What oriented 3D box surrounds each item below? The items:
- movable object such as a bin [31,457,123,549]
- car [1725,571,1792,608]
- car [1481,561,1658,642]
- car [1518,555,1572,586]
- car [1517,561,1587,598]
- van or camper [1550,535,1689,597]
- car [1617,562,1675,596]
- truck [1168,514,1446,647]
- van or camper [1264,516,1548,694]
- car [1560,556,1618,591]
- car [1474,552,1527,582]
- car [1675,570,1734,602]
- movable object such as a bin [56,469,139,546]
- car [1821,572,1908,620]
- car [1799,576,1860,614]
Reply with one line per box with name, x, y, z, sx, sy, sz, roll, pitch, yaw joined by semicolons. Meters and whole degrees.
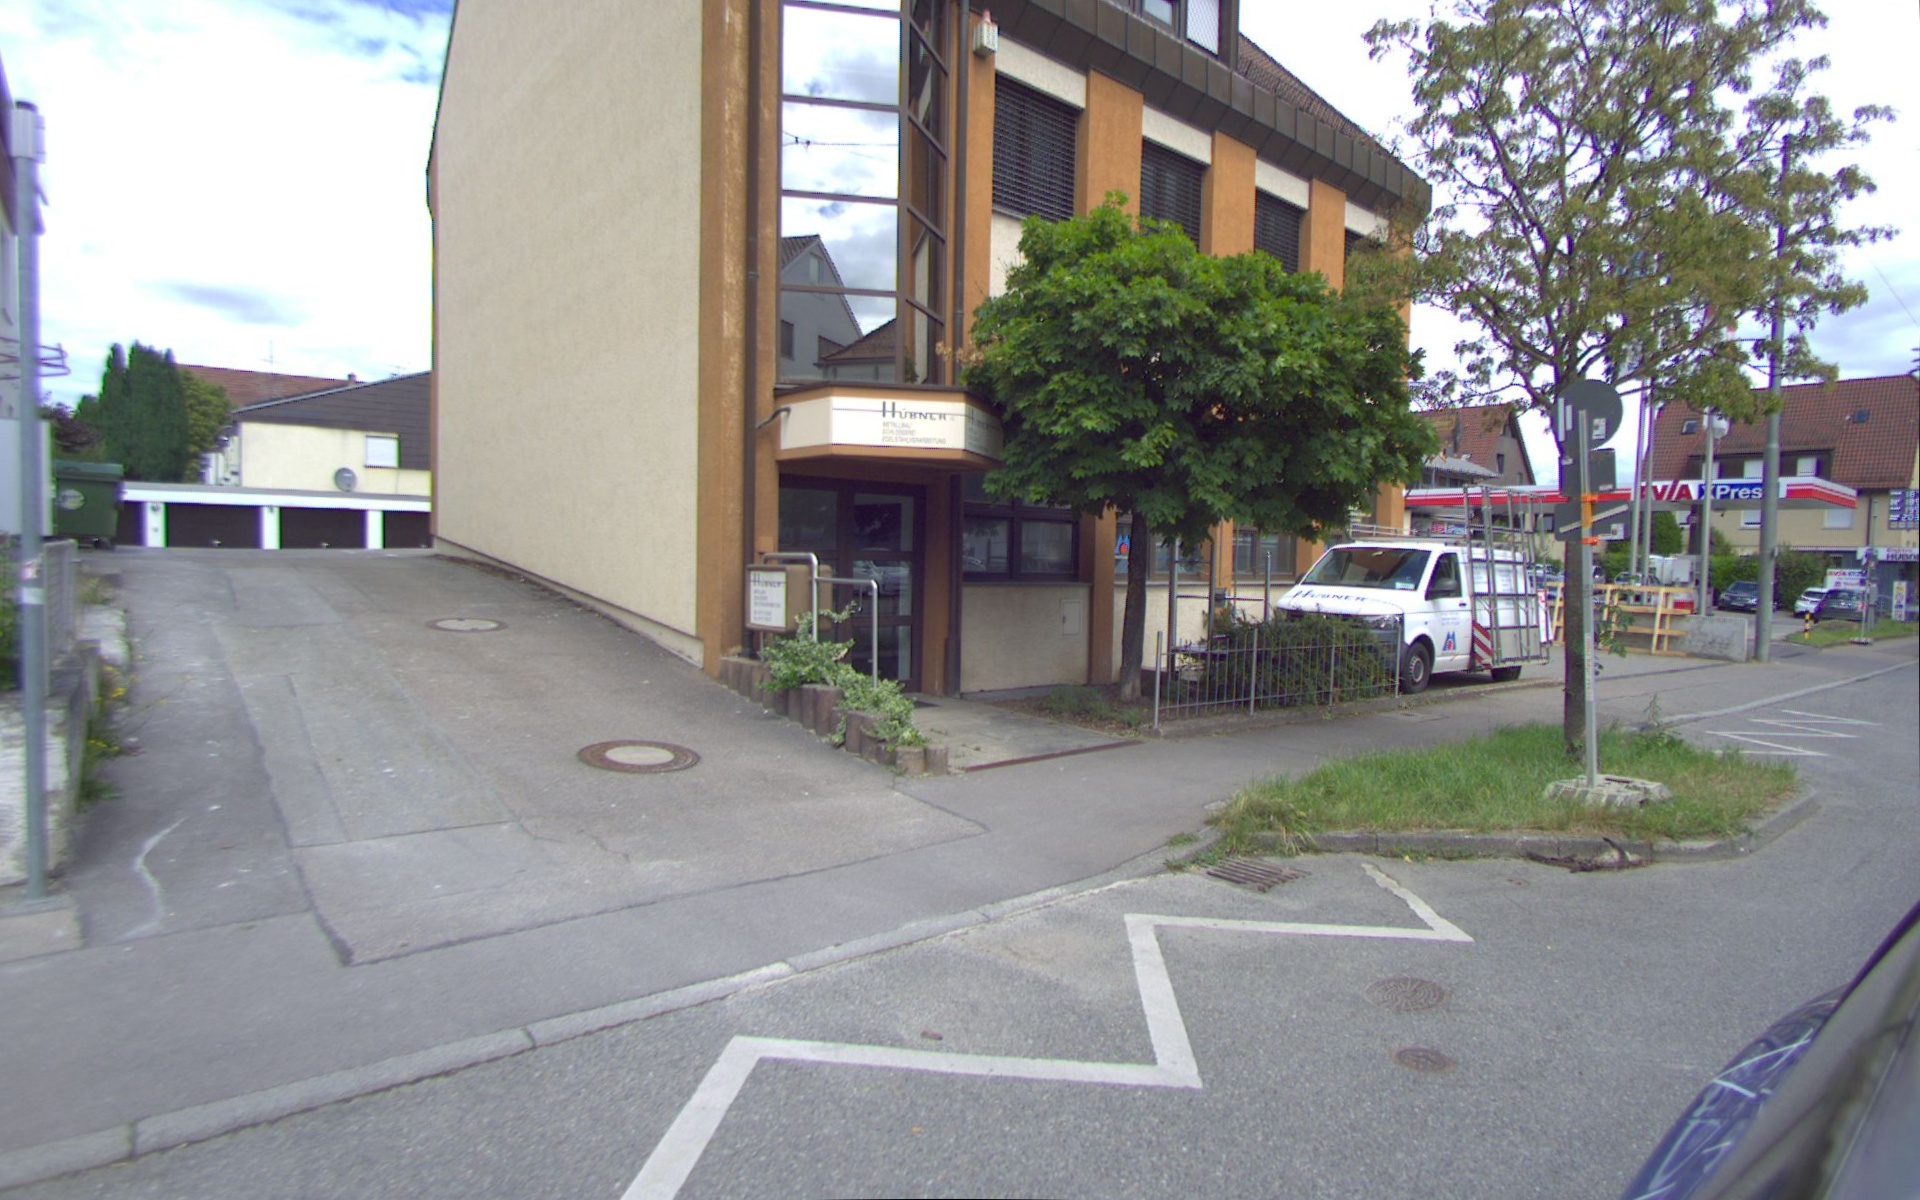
movable object such as a bin;-14.450;-1.549;16.599;1.096;1.403;1.264;-1;2;-40
car;38.859;-0.553;49.203;4.577;1.559;1.716;-2;7;-42
car;15.805;-0.041;26.543;1.603;1.649;4.327;4;4;-5
car;32.768;-1.656;56.647;3.440;1.587;1.570;-2;7;-43
car;28.751;-1.028;49.088;3.681;1.517;1.636;-4;9;-39
van or camper;37.328;-1.960;57.462;2.489;2.883;5.972;0;7;-43
car;36.046;-1.120;53.155;3.684;1.603;1.640;-2;7;-43
truck;7.240;-0.436;21.593;2.315;2.488;5.099;2;1;-40
van or camper;6.231;-0.007;13.901;4.469;2.057;1.870;-1;2;-41
car;34.228;-1.475;55.019;3.981;1.702;1.570;-2;7;-43
car;31.419;-1.940;58.836;3.440;1.587;1.570;-2;7;-43
car;37.678;-0.745;51.204;3.684;1.388;1.639;-2;7;-43
movable object such as a bin;-15.564;-1.640;18.288;1.096;1.302;1.264;-1;2;-40
car;35.678;-0.177;39.895;4.082;1.613;1.622;0;8;-37
car;41.153;-0.281;47.875;4.134;1.546;1.637;-2;8;-43
